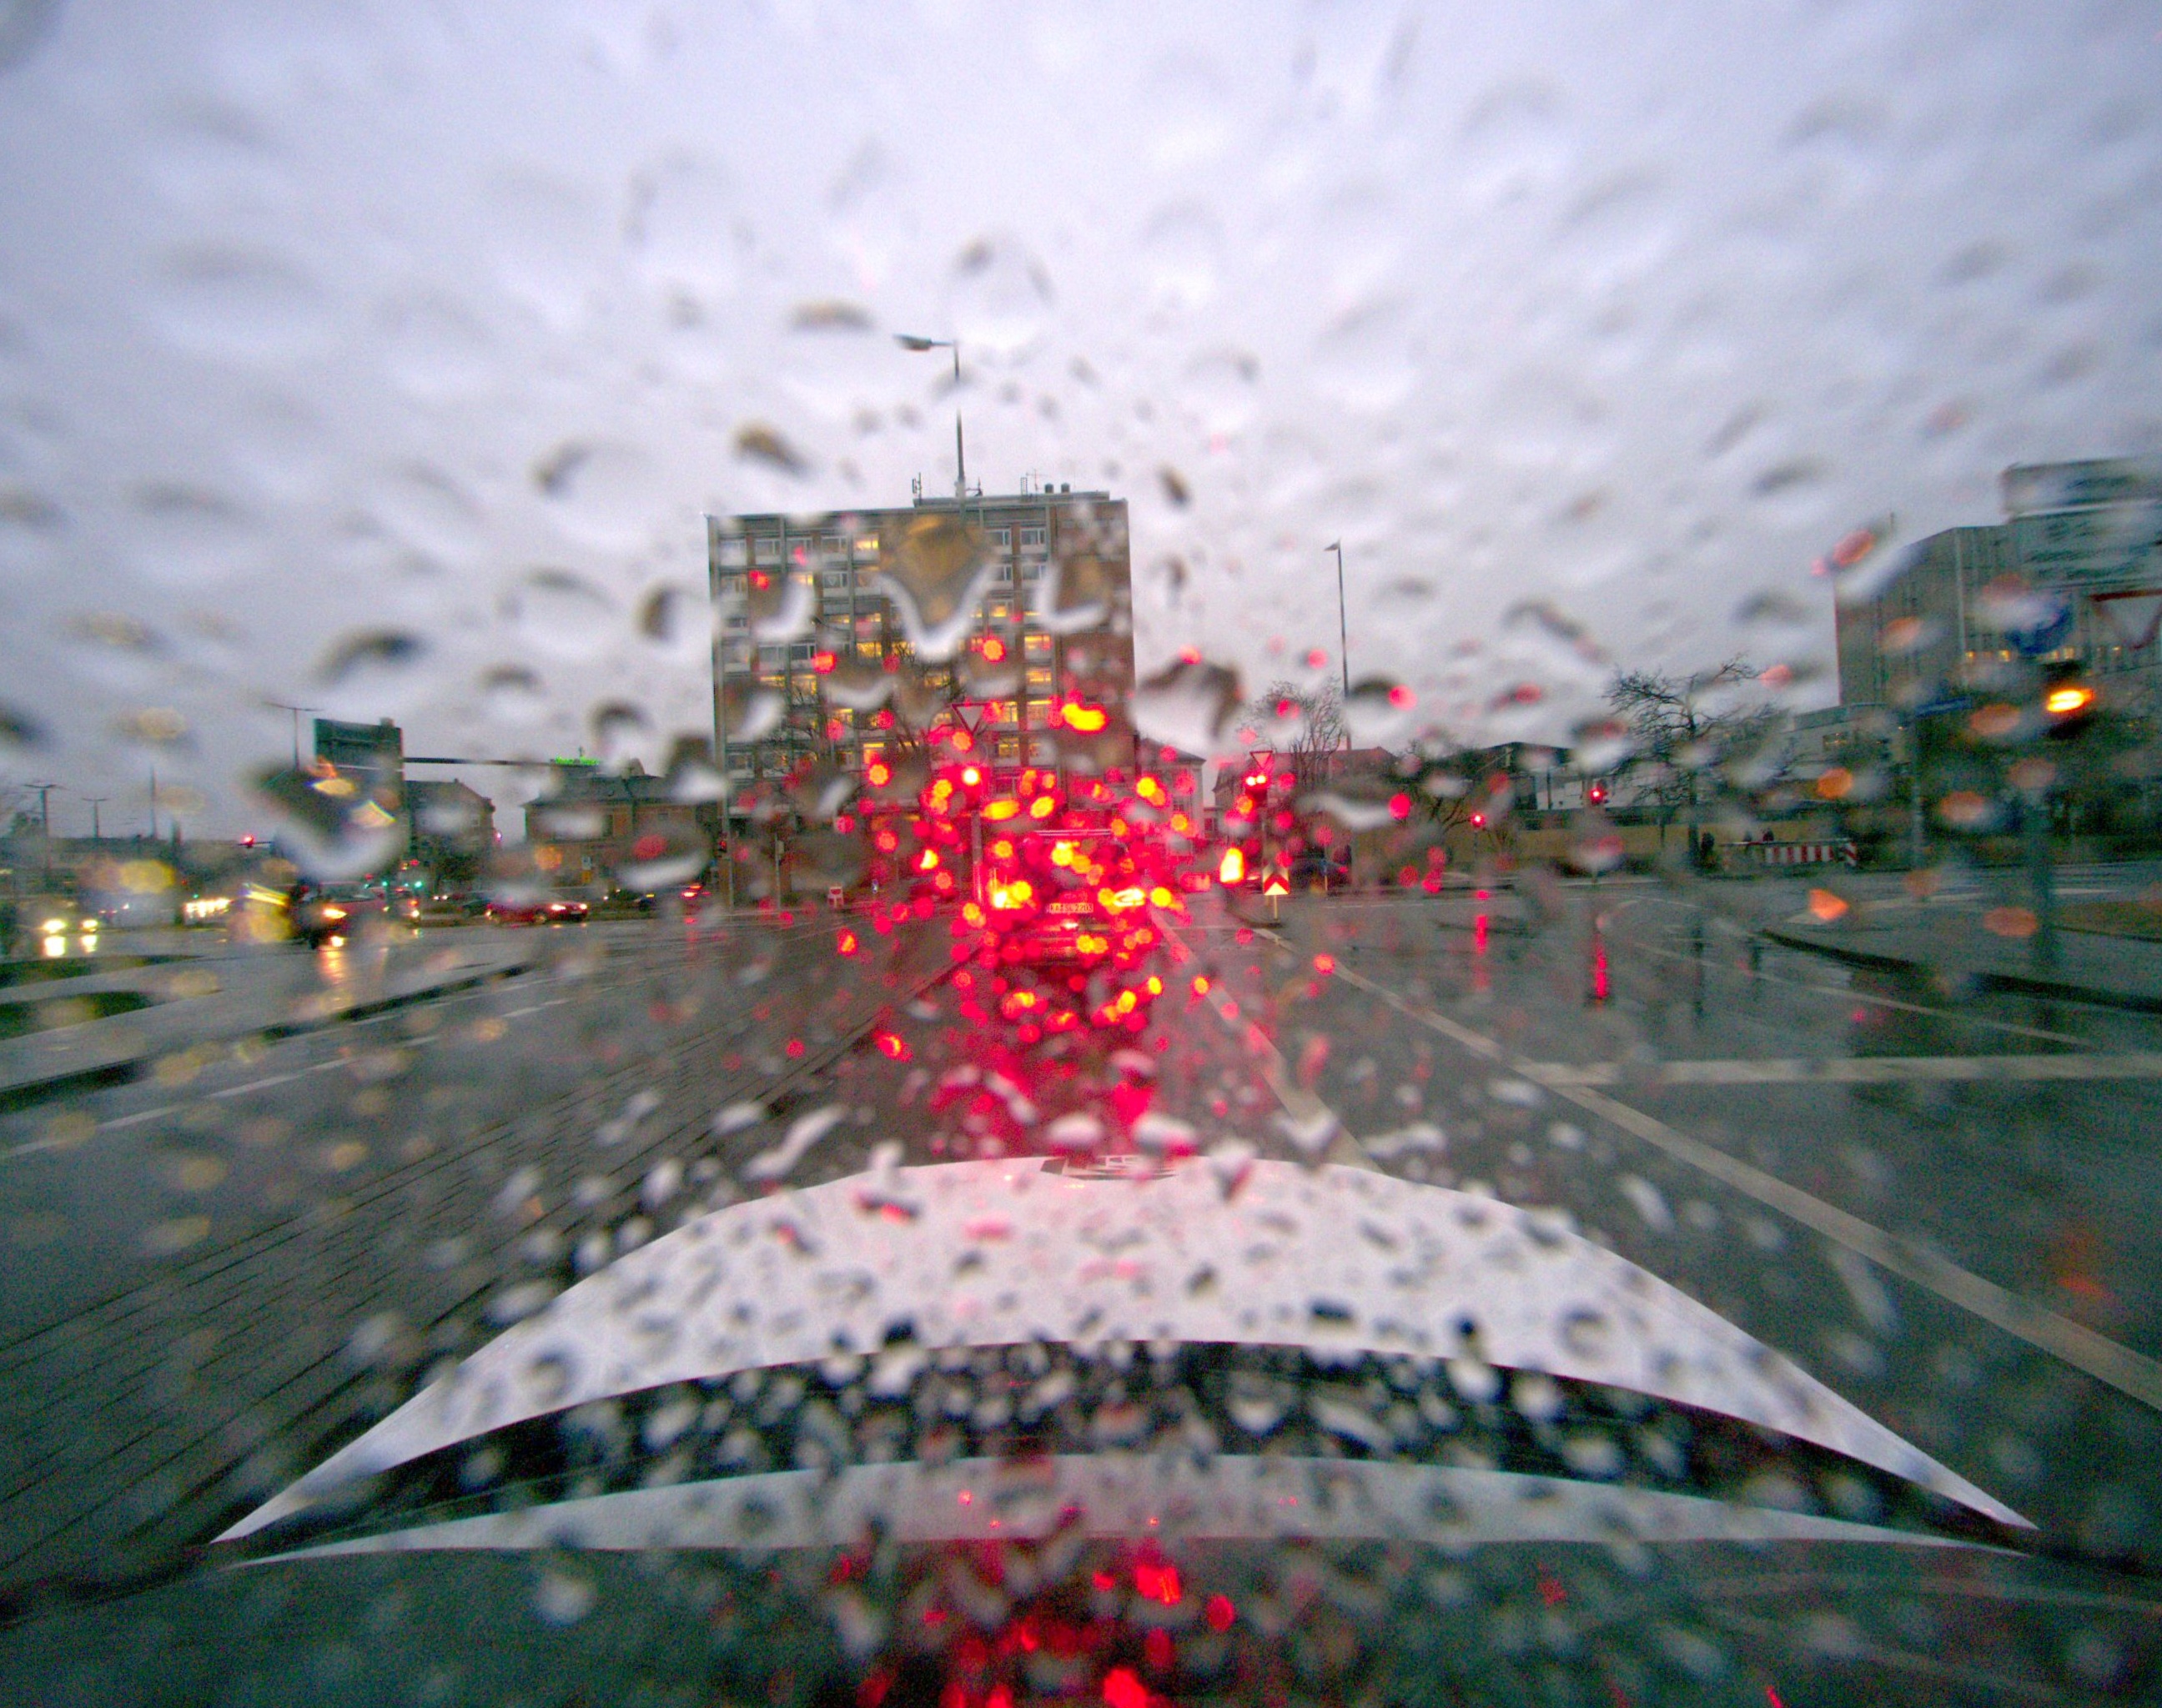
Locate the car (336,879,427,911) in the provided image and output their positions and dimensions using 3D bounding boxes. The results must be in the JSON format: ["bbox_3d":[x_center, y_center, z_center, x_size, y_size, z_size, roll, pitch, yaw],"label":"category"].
[{"bbox_3d":[-45.902,2.682,53.452,5.114,1.913,2.008,-1,-1,17],"label":"car"}]

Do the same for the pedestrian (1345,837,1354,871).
[{"bbox_3d":[14.691,-0.003,44.546,0.454,1.839,0.441,-2,-2,19],"label":"pedestrian"}]

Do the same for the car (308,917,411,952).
[{"bbox_3d":[-32.857,3.666,37.116,3.800,1.449,1.610,-1,-2,14],"label":"car"}]

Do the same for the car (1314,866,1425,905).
[{"bbox_3d":[12.549,1.389,35.742,4.401,1.580,1.975,-1,-2,14],"label":"car"}]

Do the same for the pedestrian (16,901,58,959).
[{"bbox_3d":[-33.232,2.406,25.917,0.605,1.772,0.587,-1,-2,15],"label":"pedestrian"}]

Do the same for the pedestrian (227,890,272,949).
[{"bbox_3d":[-24.747,1.943,24.249,0.456,1.697,0.801,-2,-2,25],"label":"pedestrian"}]

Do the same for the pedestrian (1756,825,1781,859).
[{"bbox_3d":[35.778,-0.626,42.372,0.620,1.725,0.762,-1,-2,8],"label":"pedestrian"}]

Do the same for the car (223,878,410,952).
[{"bbox_3d":[-25.059,1.959,26.742,4.981,2.282,2.268,-1,-2,18],"label":"car"}]

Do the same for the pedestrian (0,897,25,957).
[{"bbox_3d":[-33.583,2.265,25.309,0.687,1.815,0.683,-1,-2,15],"label":"pedestrian"}]

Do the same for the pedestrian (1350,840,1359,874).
[{"bbox_3d":[15.259,0.170,45.410,0.434,1.839,0.462,-2,-2,20],"label":"pedestrian"}]

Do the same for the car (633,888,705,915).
[{"bbox_3d":[-22.539,2.603,44.543,3.384,1.398,1.475,-1,-4,17],"label":"car"}]

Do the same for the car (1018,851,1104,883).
[{"bbox_3d":[-1.329,0.887,54.979,5.516,2.024,2.004,-1,-2,7],"label":"car"}]

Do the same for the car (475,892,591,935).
[{"bbox_3d":[-22.980,2.498,34.204,4.040,1.684,1.766,-1,-2,14],"label":"car"}]

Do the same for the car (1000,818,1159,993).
[{"bbox_3d":[0.043,0.533,10.593,1.641,1.819,4.002,-1,0,2],"label":"car"}]

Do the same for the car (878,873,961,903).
[{"bbox_3d":[-8.029,1.686,40.566,3.763,1.398,1.570,-1,-2,13],"label":"car"}]

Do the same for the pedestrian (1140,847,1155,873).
[{"bbox_3d":[4.268,0.389,52.173,0.687,1.661,0.672,0,-2,-25],"label":"pedestrian"}]

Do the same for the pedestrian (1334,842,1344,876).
[{"bbox_3d":[14.444,0.290,45.567,0.434,1.839,0.462,-2,-2,19],"label":"pedestrian"}]

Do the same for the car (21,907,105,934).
[{"bbox_3d":[-58.812,3.826,47.072,3.611,1.447,1.610,-1,-2,13],"label":"car"}]

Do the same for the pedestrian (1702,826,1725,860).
[{"bbox_3d":[33.780,-0.578,43.487,0.620,1.725,0.762,-1,-2,8],"label":"pedestrian"}]
